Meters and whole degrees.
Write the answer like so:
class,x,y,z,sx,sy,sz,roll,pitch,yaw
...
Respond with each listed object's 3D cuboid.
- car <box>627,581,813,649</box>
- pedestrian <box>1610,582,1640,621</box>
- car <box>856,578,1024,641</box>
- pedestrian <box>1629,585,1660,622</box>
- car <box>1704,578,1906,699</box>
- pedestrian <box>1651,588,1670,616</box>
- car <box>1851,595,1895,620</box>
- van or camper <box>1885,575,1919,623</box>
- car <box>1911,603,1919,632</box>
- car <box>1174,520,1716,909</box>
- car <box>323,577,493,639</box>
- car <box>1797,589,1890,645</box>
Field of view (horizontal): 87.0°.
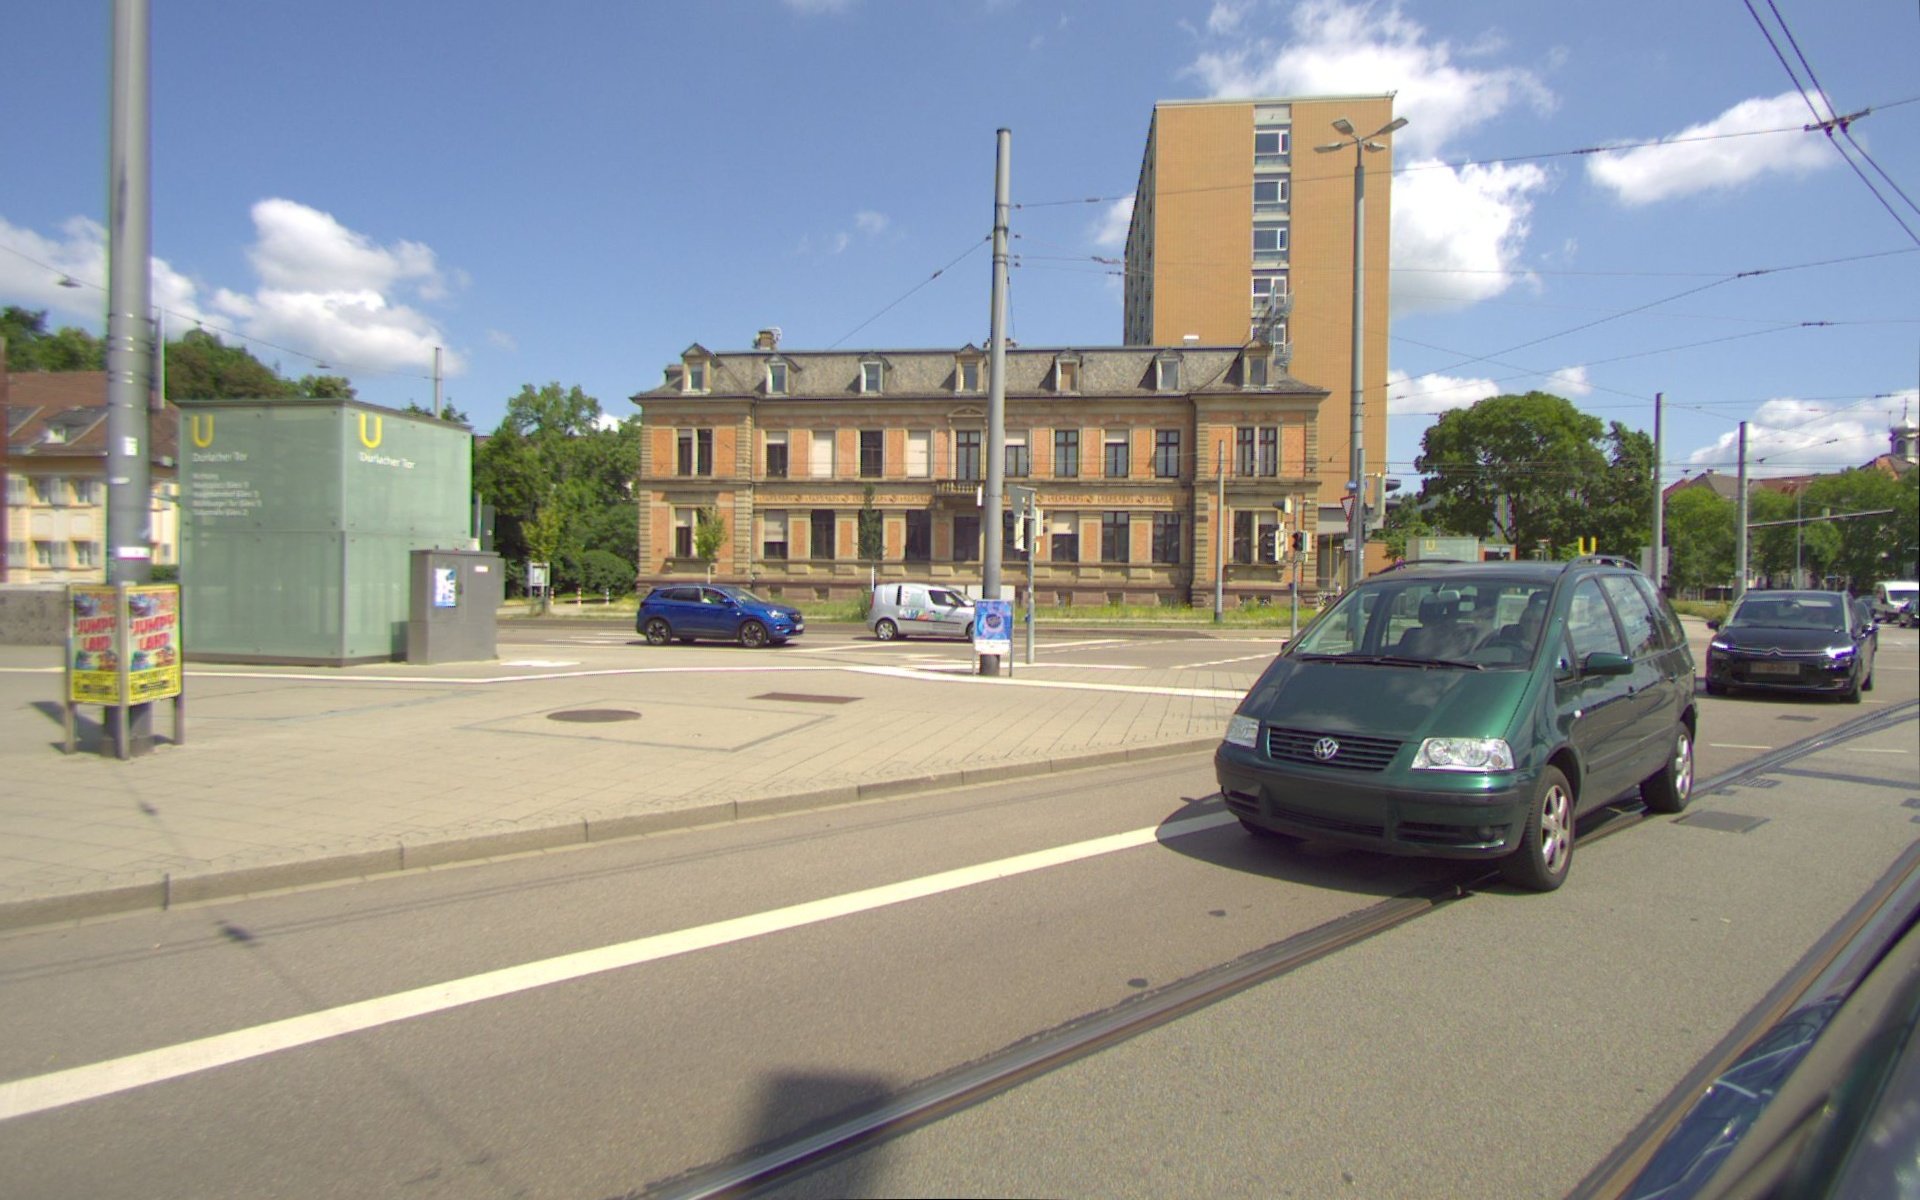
class,x,y,z,sx,sy,sz,roll,pitch,yaw
car,-6.193,0.338,26.286,4.361,1.570,1.867,1,3,14
pedestrian,32.173,0.063,48.977,1.011,1.835,0.726,1,0,10
car,-0.525,0.231,28.151,4.359,1.607,1.867,1,1,13
pedestrian,32.465,0.149,48.004,1.011,1.741,0.726,1,0,10
car,13.393,0.507,15.942,4.351,1.636,1.871,0,1,-42
pedestrian,41.146,0.116,59.447,0.826,1.606,0.756,1,0,40
car,61.602,0.486,68.324,1.772,1.594,3.908,2,0,37
van or camper,57.331,-0.065,60.724,2.222,2.770,5.445,1,1,38
car,51.504,0.907,53.119,1.892,1.482,4.202,1,1,38
car,3.331,0.506,6.573,4.016,1.739,1.816,0,0,-43
car,-15.300,0.179,28.111,3.938,1.585,1.931,1,1,15
car,25.953,0.439,29.676,1.868,1.504,4.357,1,1,43
